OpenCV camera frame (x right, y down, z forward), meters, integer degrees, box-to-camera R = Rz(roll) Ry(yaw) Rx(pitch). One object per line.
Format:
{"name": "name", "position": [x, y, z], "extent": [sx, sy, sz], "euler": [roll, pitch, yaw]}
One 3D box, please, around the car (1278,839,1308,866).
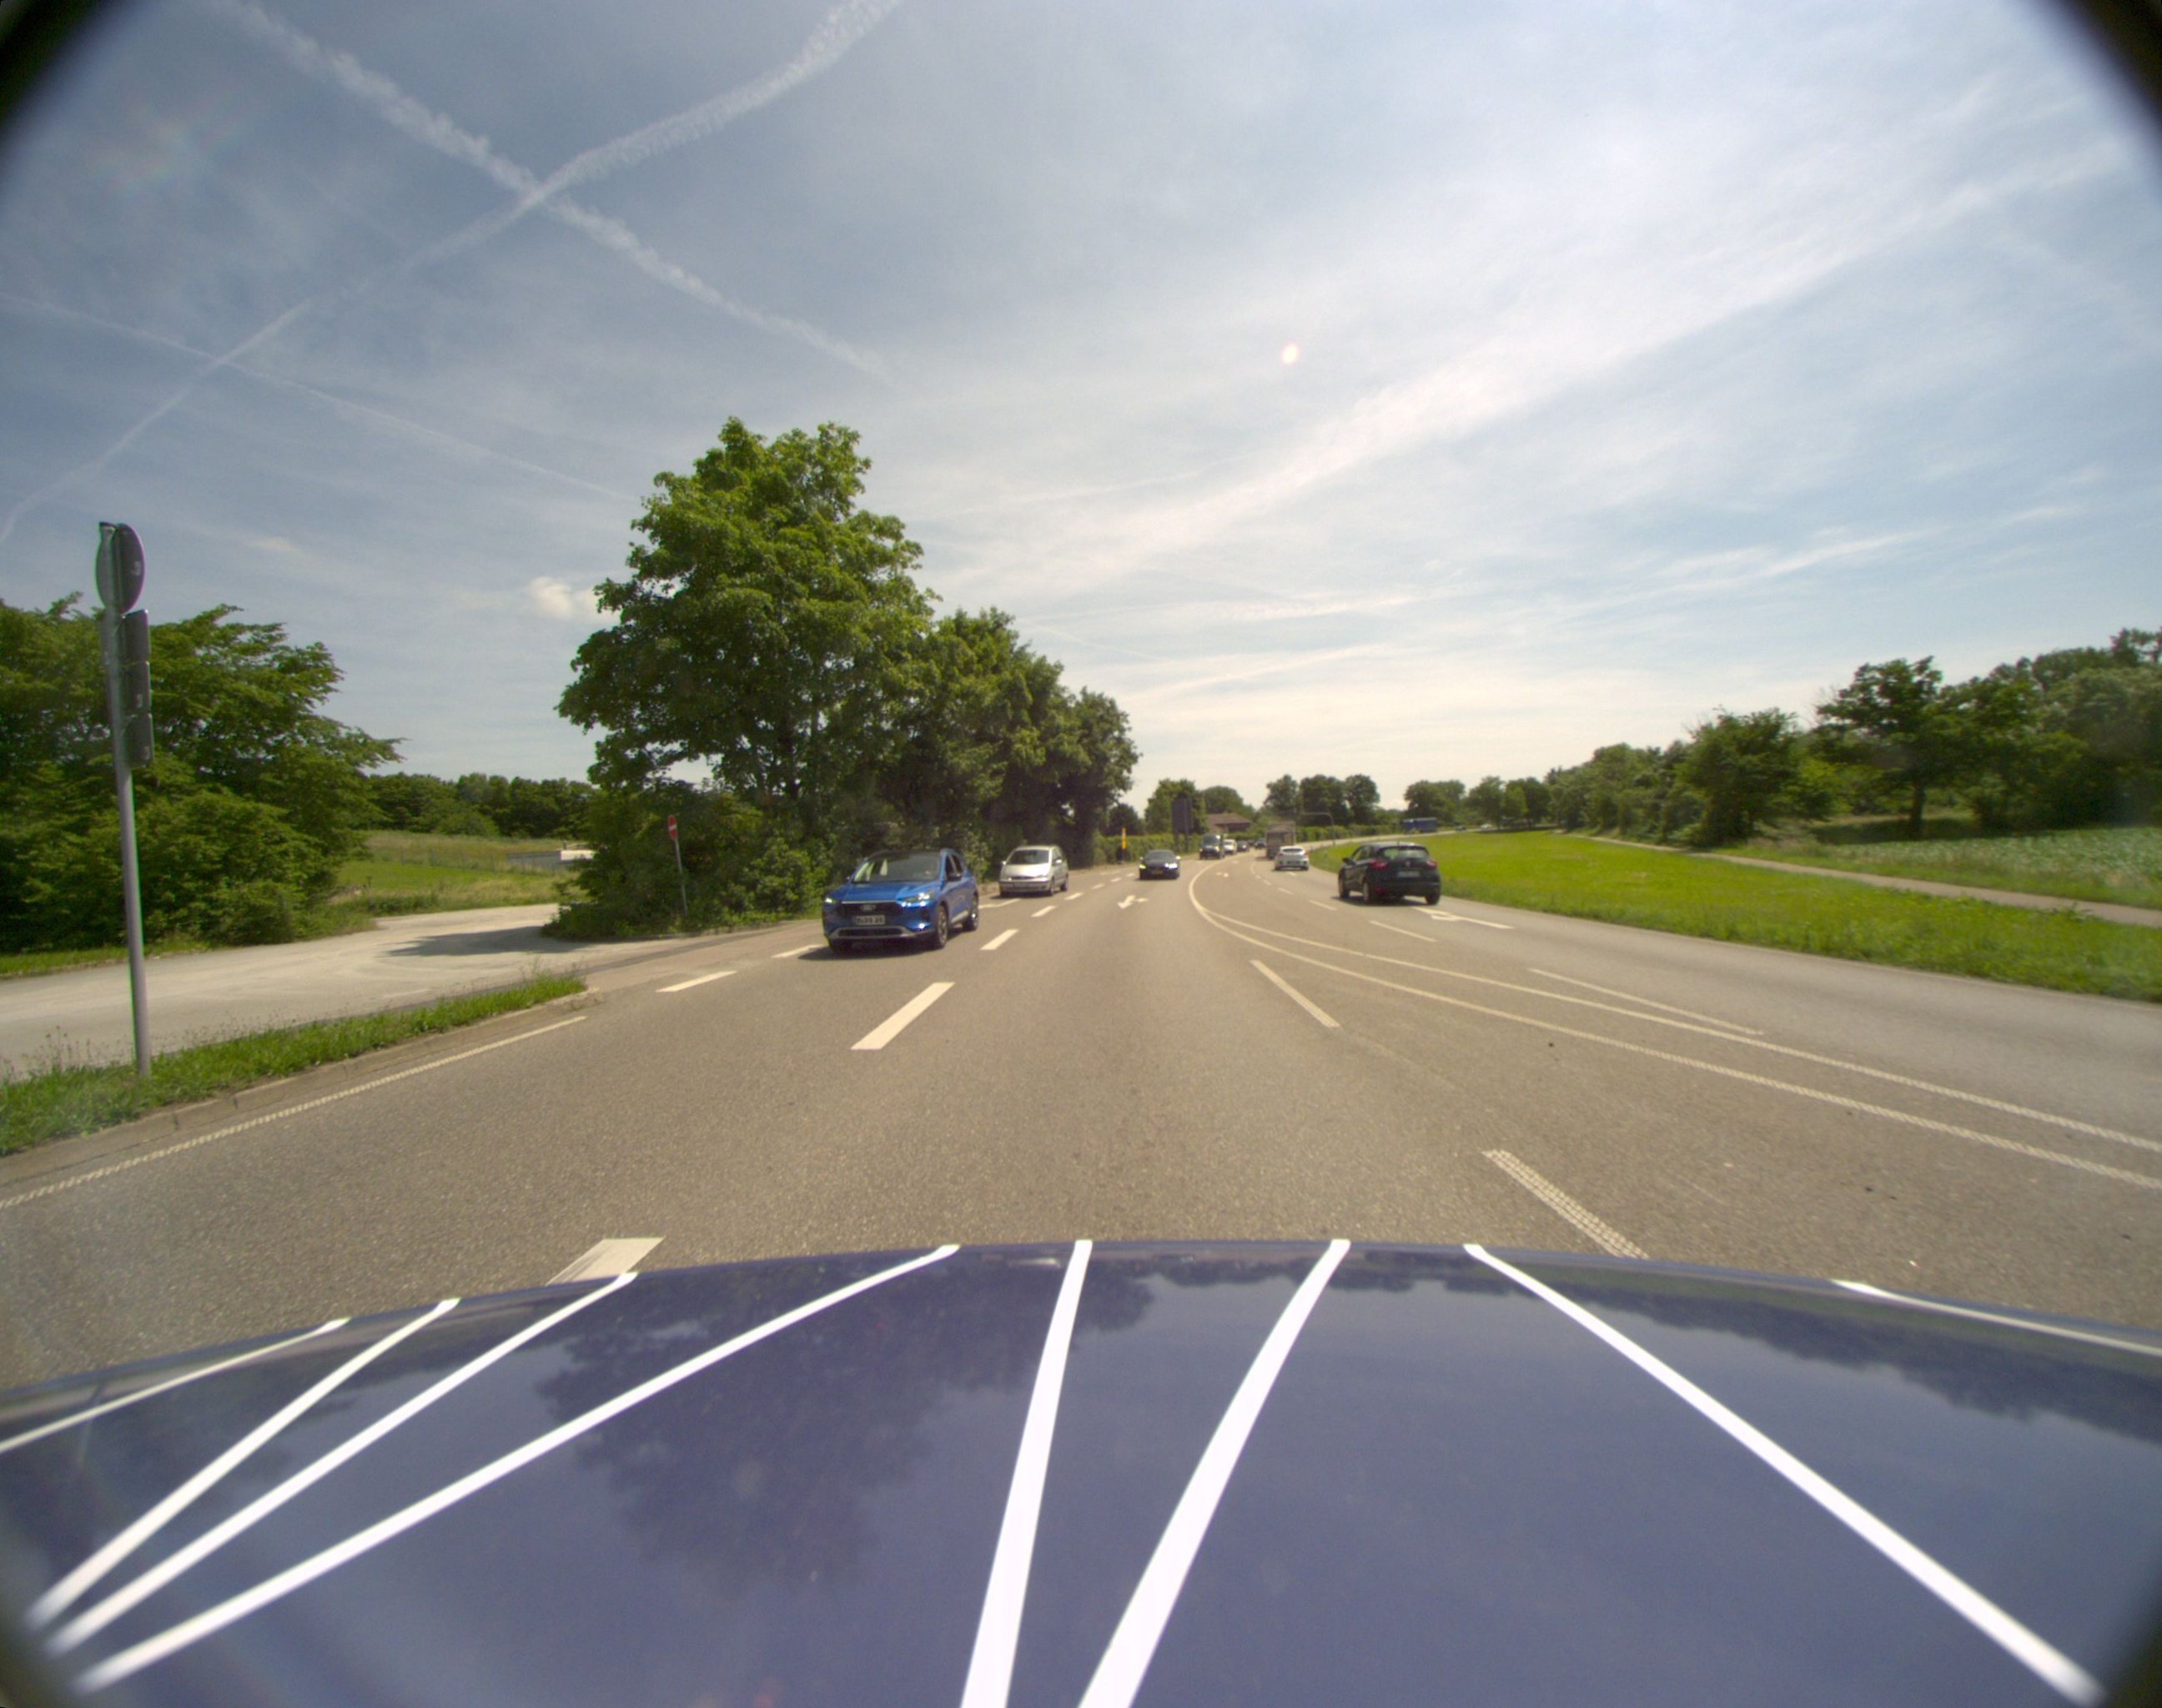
{"name": "car", "position": [12.597, -0.106, 45.279], "extent": [1.618, 1.454, 4.003], "euler": [-2, 1, 14]}

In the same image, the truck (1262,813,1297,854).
{"name": "truck", "position": [18.489, -1.900, 70.695], "extent": [2.972, 3.550, 6.904], "euler": [-1, 1, 15]}

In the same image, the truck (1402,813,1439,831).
{"name": "truck", "position": [91.641, -8.651, 204.845], "extent": [16.189, 4.583, 2.738], "euler": [-3, 2, -42]}

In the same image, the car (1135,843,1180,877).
{"name": "car", "position": [3.771, 0.255, 36.988], "extent": [1.782, 1.484, 4.160], "euler": [-2, 0, 10]}

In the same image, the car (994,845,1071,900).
{"name": "car", "position": [-1.571, 0.570, 26.371], "extent": [1.864, 1.682, 4.528], "euler": [-2, 1, 6]}

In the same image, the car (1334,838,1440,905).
{"name": "car", "position": [7.963, 0.385, 20.140], "extent": [1.619, 1.550, 4.001], "euler": [-2, 1, 7]}

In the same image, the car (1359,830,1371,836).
{"name": "car", "position": [70.169, -5.183, 187.466], "extent": [1.779, 1.484, 4.165], "euler": [-1, 1, 34]}

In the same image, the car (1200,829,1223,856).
{"name": "car", "position": [12.921, -1.146, 75.476], "extent": [1.980, 2.504, 4.159], "euler": [-2, 1, 7]}

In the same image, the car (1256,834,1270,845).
{"name": "car", "position": [28.060, -2.233, 117.070], "extent": [1.781, 1.484, 4.162], "euler": [-1, 1, 18]}

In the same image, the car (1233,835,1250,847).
{"name": "car", "position": [21.866, -1.750, 103.117], "extent": [1.781, 1.484, 4.162], "euler": [-1, 1, 18]}

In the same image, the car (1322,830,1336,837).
{"name": "car", "position": [54.152, -4.504, 166.143], "extent": [1.779, 1.484, 4.165], "euler": [-1, 1, 34]}

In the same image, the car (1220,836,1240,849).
{"name": "car", "position": [17.629, -1.342, 89.535], "extent": [1.781, 1.484, 4.162], "euler": [-1, 1, 18]}

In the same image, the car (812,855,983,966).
{"name": "car", "position": [-3.051, 0.857, 13.628], "extent": [1.783, 1.550, 4.388], "euler": [-2, 1, 2]}
